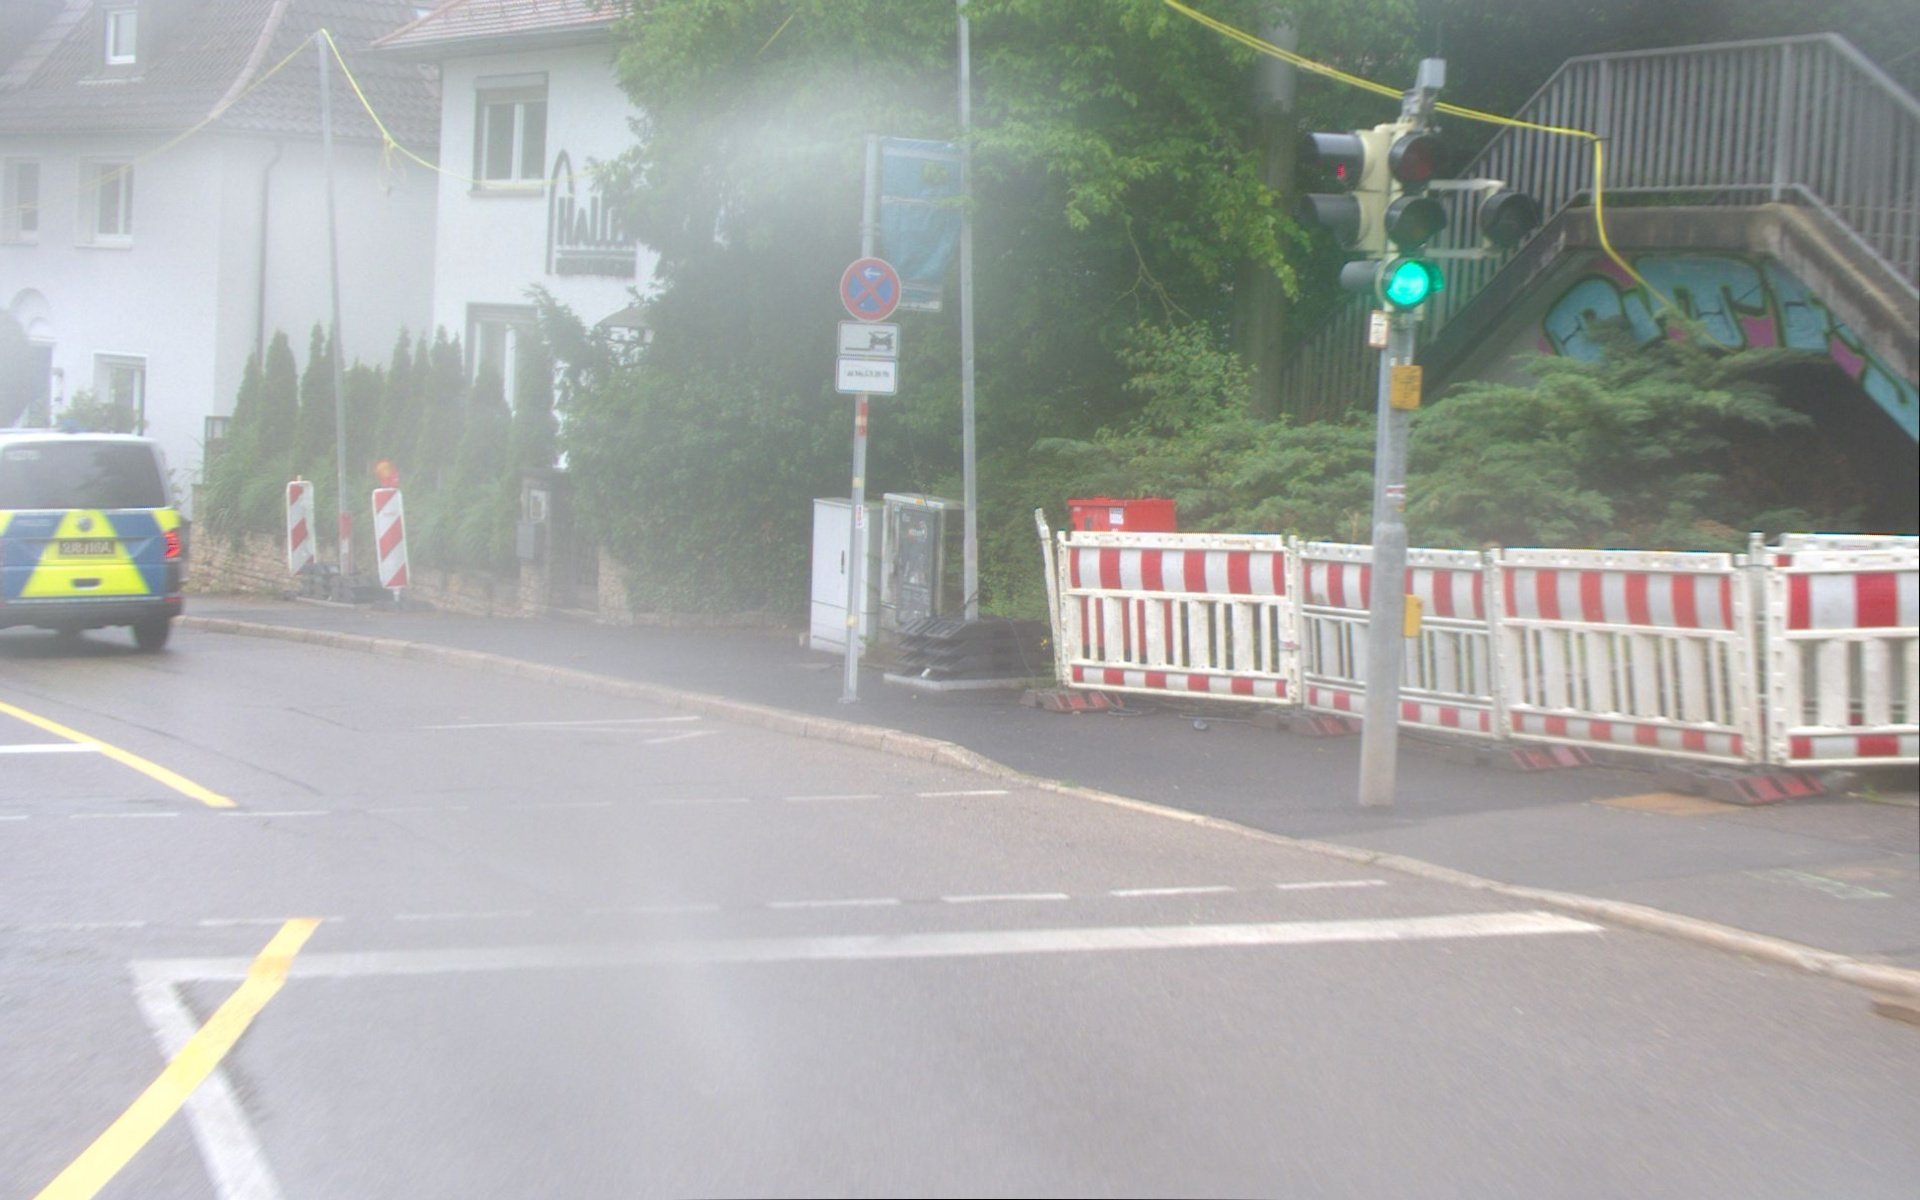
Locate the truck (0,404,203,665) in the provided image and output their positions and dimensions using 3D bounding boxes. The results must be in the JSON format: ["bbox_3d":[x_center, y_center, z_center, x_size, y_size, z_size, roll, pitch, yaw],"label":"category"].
[{"bbox_3d":[-8.493,-0.686,31.434,1.993,2.006,4.737,-1,6,-26],"label":"truck"}]
